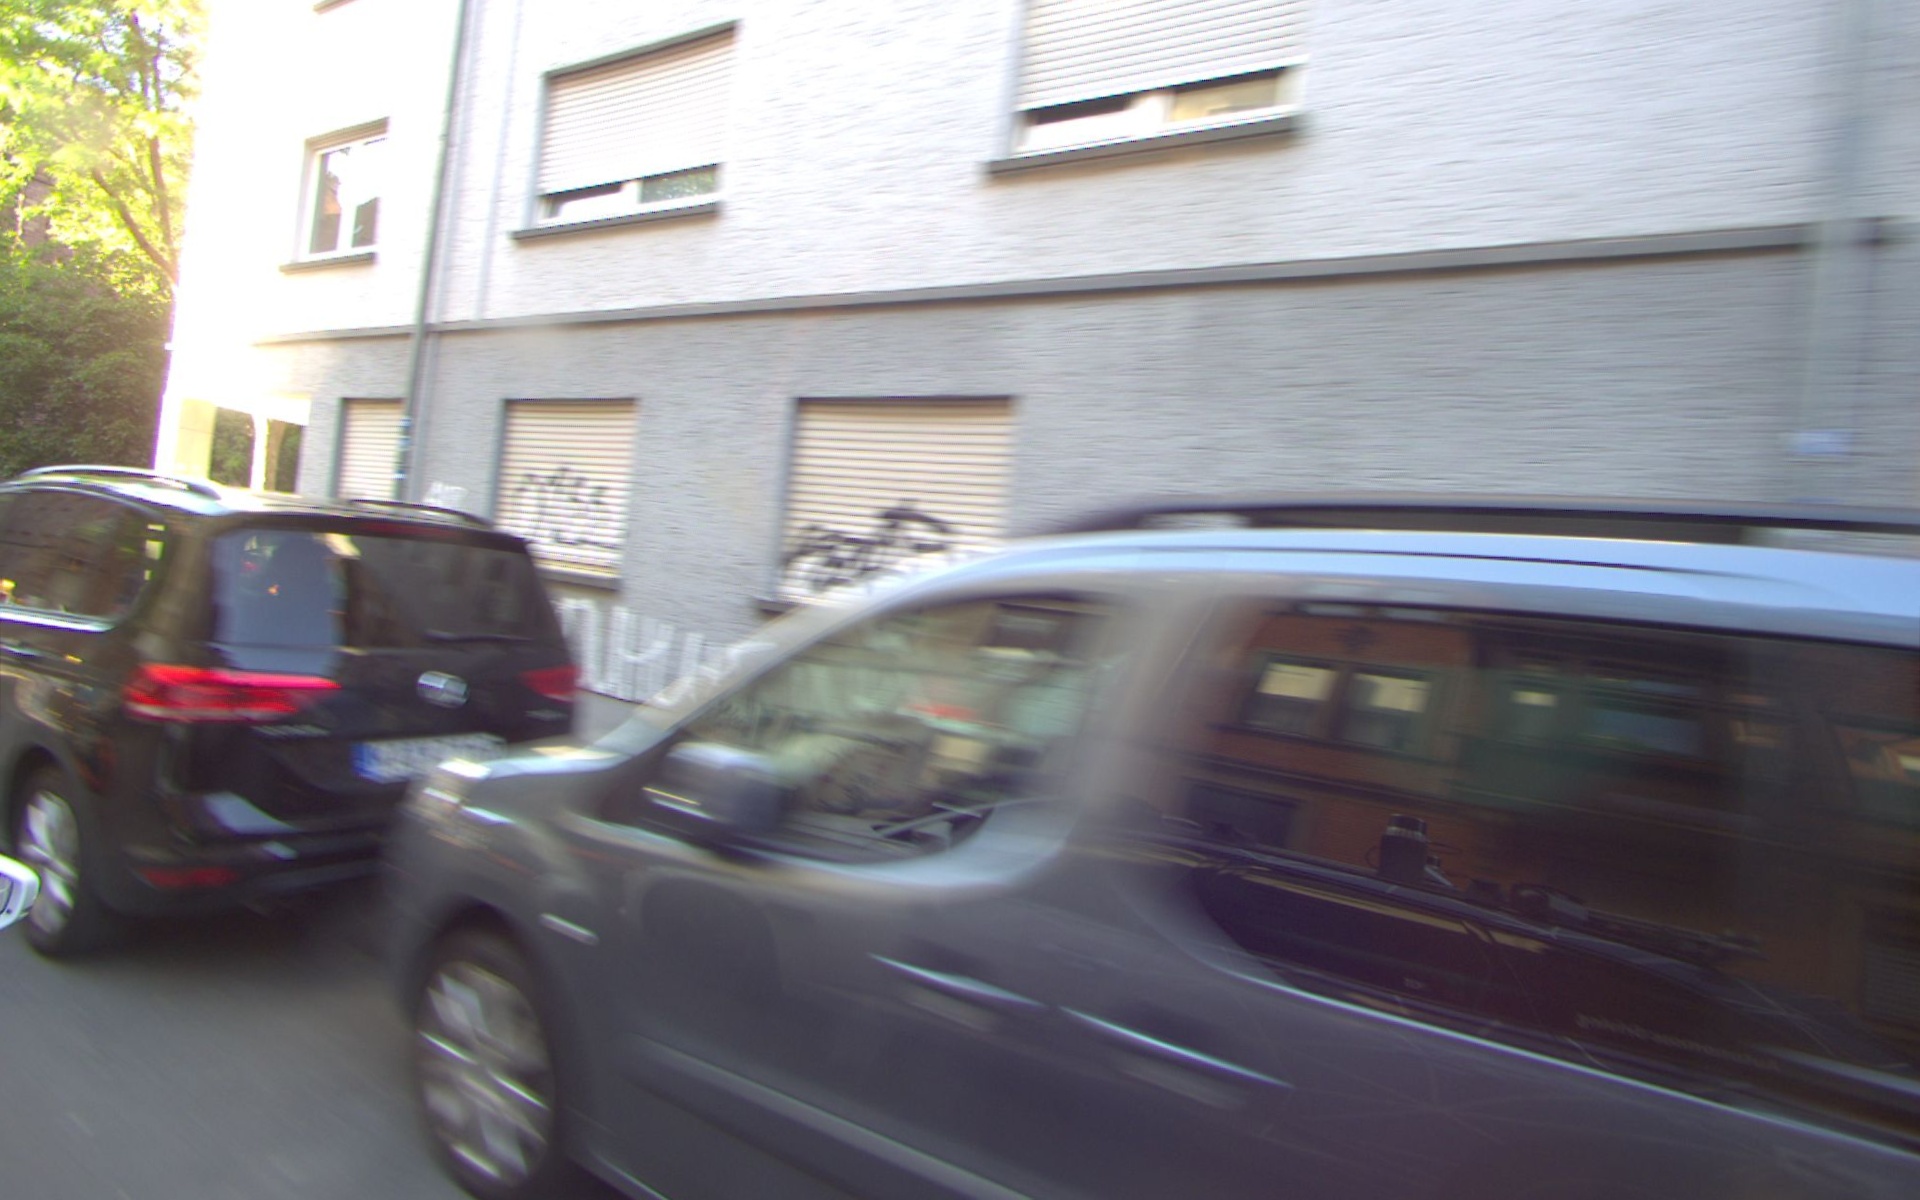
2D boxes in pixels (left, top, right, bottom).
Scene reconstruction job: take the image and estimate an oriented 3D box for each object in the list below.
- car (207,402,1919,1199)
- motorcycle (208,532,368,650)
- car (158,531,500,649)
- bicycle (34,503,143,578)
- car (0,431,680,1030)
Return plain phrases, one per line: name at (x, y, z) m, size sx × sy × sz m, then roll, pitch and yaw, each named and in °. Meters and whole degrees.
car at (0.317, 0.632, 2.404) m, size 4.645 × 1.810 × 1.754 m, roll 8°, pitch 2°, yaw 32°
motorcycle at (-8.075, -0.075, 12.228) m, size 0.731 × 1.242 × 2.154 m, roll 5°, pitch -2°, yaw -10°
car at (-10.188, -0.079, 16.621) m, size 1.819 × 1.405 × 4.356 m, roll 7°, pitch -1°, yaw 30°
bicycle at (-18.273, -1.211, 21.154) m, size 0.765 × 1.388 × 2.117 m, roll 7°, pitch 0°, yaw -15°
car at (-3.635, 0.239, 4.733) m, size 4.318 × 1.659 × 1.903 m, roll 7°, pitch -1°, yaw 31°
